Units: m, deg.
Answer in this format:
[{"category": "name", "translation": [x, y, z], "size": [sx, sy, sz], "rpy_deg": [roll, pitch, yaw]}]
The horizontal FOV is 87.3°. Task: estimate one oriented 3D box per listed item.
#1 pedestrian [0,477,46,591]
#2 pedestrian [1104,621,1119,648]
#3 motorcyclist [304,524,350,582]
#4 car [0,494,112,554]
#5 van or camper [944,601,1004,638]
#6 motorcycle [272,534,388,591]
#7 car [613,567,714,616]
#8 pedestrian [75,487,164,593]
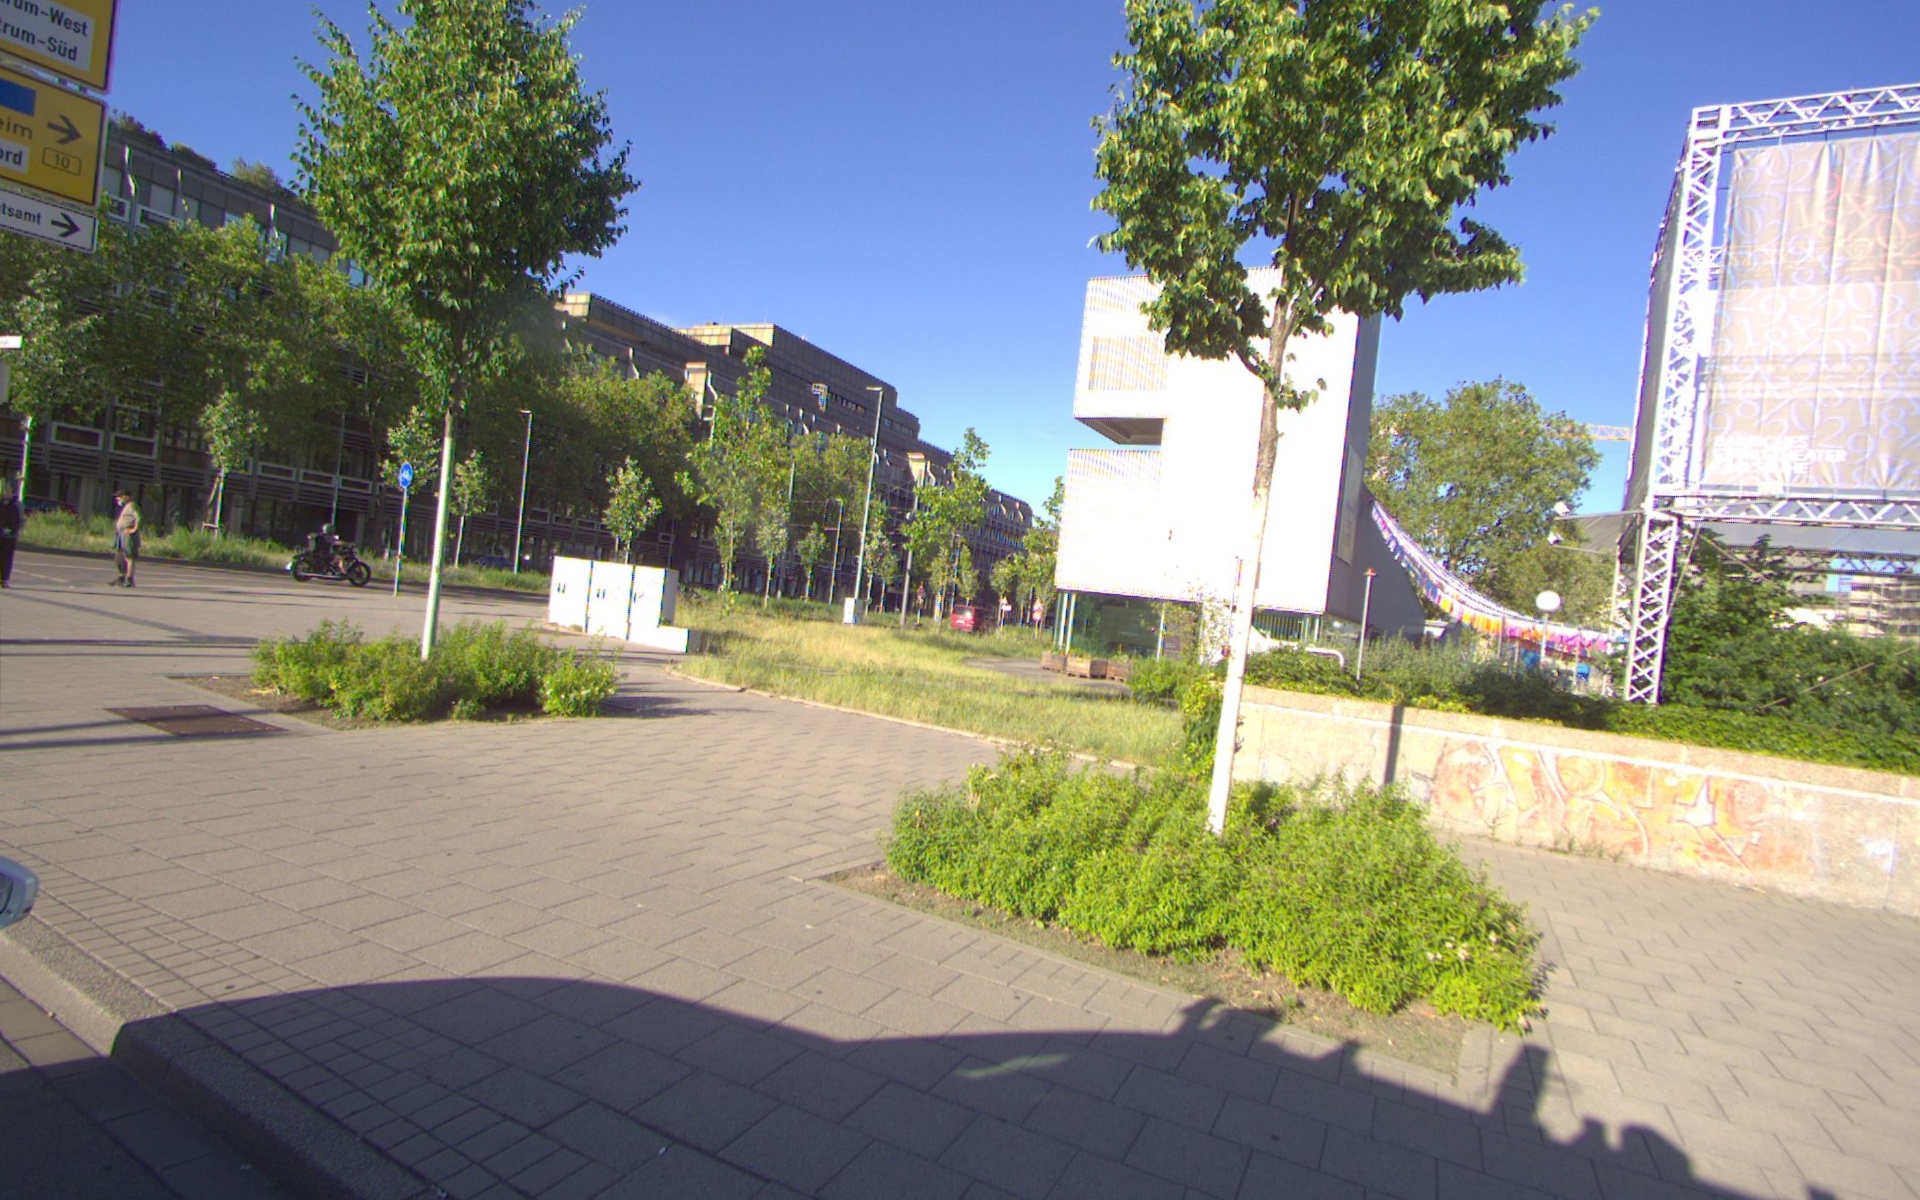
[{"category": "pedestrian", "translation": [-14.320, -1.011, 14.938], "size": [0.859, 1.634, 0.767], "rpy_deg": [7, 1, 30]}, {"category": "pedestrian", "translation": [9.191, 2.103, 61.207], "size": [0.520, 1.571, 0.638], "rpy_deg": [7, -1, 31]}, {"category": "motorcyclist", "translation": [-16.975, -1.251, 26.987], "size": [0.636, 1.441, 0.658], "rpy_deg": [8, 1, 24]}, {"category": "car", "translation": [-33.174, -2.779, 35.701], "size": [1.792, 1.704, 4.302], "rpy_deg": [7, -1, 21]}, {"category": "van or camper", "translation": [0.984, 1.322, 66.509], "size": [1.971, 2.038, 4.840], "rpy_deg": [7, -1, 25]}, {"category": "motorcycle", "translation": [-16.932, -0.984, 27.137], "size": [0.716, 1.223, 2.602], "rpy_deg": [8, 0, 24]}, {"category": "car", "translation": [-11.817, -0.310, 40.349], "size": [1.642, 1.528, 3.871], "rpy_deg": [7, -1, 25]}, {"category": "pedestrian", "translation": [-14.938, -1.060, 17.887], "size": [0.755, 1.728, 0.873], "rpy_deg": [7, 1, 30]}]
